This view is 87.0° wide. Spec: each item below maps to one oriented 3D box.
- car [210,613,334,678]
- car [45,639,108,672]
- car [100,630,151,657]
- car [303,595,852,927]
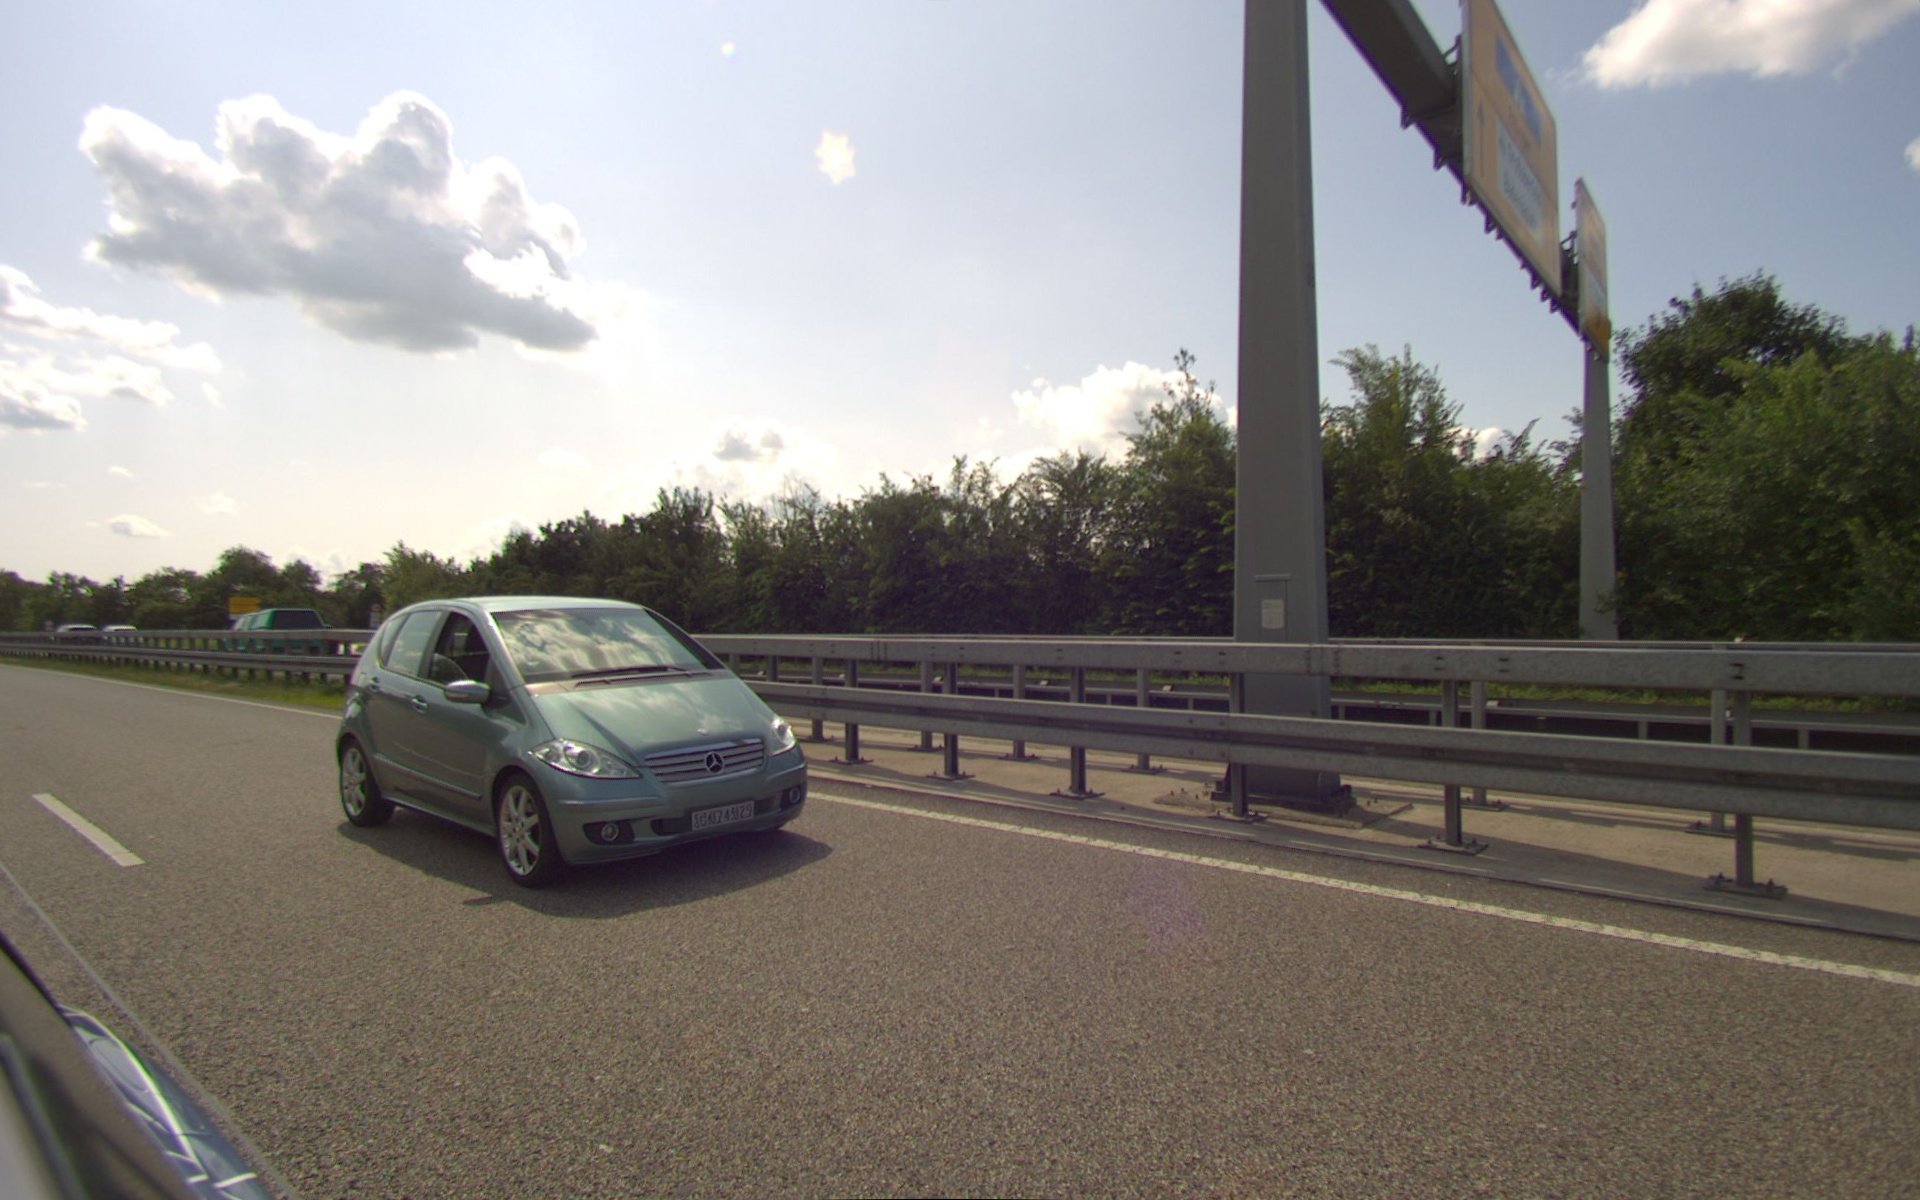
[{"bbox_3d":[-22.376,1.416,32.841,5.389,1.877,1.973,-1,0,41],"label":"car"},{"bbox_3d":[-48.349,3.005,55.364,4.130,1.609,1.973,-1,0,41],"label":"car"},{"bbox_3d":[-55.566,2.864,67.368,4.548,1.658,1.940,-1,0,41],"label":"car"},{"bbox_3d":[-2.718,0.787,6.700,3.998,1.543,1.729,-2,-1,41],"label":"car"}]
